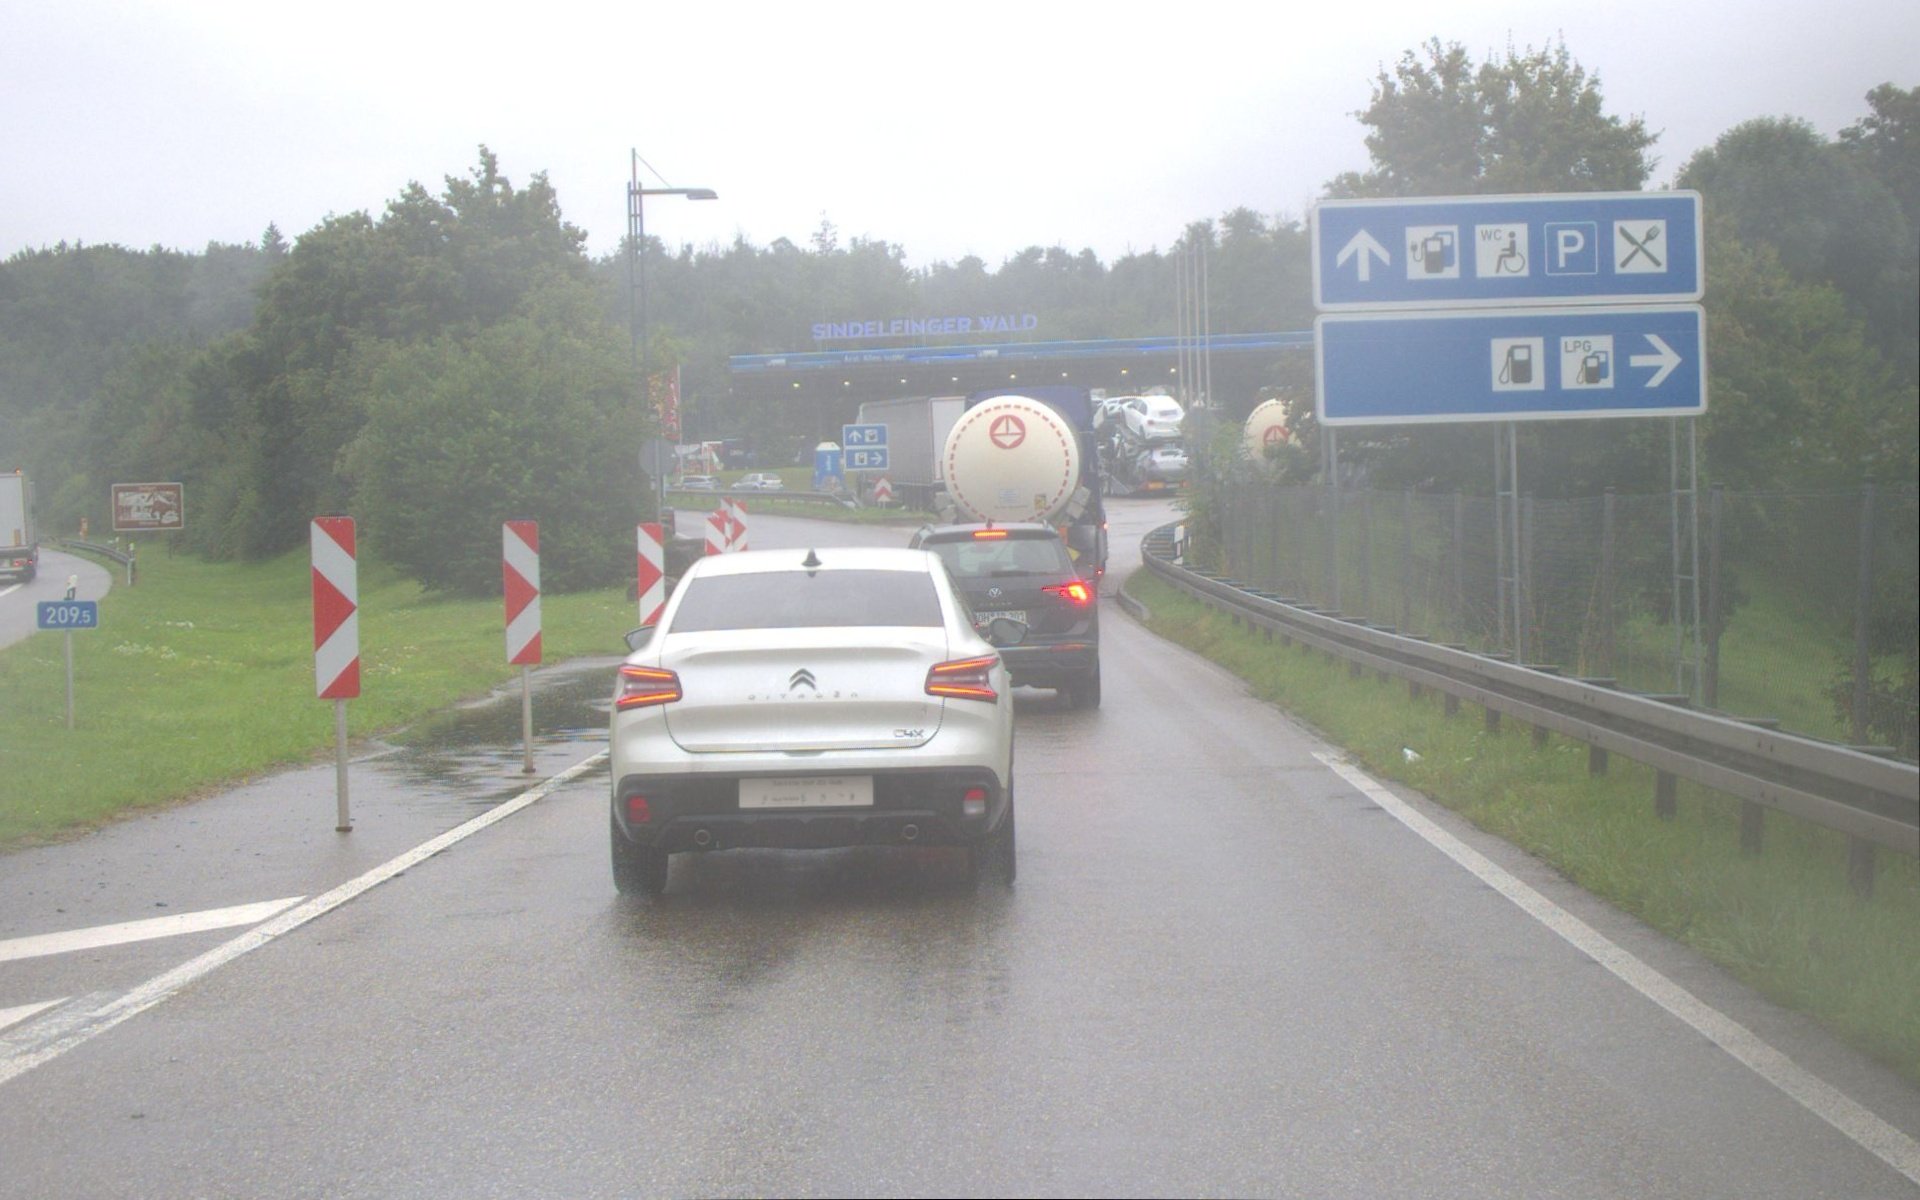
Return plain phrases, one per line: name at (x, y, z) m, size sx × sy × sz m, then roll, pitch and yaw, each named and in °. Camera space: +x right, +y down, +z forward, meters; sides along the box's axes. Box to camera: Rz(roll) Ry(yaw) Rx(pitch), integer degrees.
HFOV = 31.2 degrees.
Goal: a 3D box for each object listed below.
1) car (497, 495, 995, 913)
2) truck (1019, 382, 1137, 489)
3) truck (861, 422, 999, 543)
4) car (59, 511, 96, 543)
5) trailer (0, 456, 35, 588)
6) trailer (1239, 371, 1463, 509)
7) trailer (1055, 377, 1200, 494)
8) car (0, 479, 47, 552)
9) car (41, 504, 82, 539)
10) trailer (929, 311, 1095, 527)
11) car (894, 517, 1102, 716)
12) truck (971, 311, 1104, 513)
car at (-0.908, 0.375, 15.861) m, size 1.993 × 1.673 × 4.000 m, roll 0°, pitch 1°, yaw -1°
truck at (4.746, -6.747, 140.467) m, size 3.233 × 4.173 × 8.447 m, roll -2°, pitch 3°, yaw -9°
truck at (-1.158, -4.123, 118.552) m, size 2.370 × 3.860 × 12.460 m, roll -3°, pitch 3°, yaw -11°
car at (-56.587, -4.700, 220.455) m, size 1.993 × 2.007 × 4.001 m, roll 0°, pitch 1°, yaw -19°
trailer at (-35.928, -2.727, 126.175) m, size 3.547 × 4.596 × 12.124 m, roll -3°, pitch 1°, yaw -15°
trailer at (10.694, -4.405, 92.852) m, size 2.134 × 3.428 × 10.238 m, roll -1°, pitch 3°, yaw 29°
trailer at (6.250, -6.268, 130.570) m, size 3.215 × 4.174 × 11.534 m, roll -2°, pitch 3°, yaw -9°
car at (-45.555, -4.062, 166.421) m, size 2.371 × 3.473 × 4.817 m, roll 0°, pitch 1°, yaw -17°
car at (-52.556, -4.577, 201.006) m, size 1.993 × 2.007 × 4.001 m, roll 0°, pitch 1°, yaw -19°
trailer at (0.997, -3.006, 57.293) m, size 1.980 × 3.213 × 10.321 m, roll -2°, pitch 3°, yaw 5°
car at (0.325, 0.106, 30.840) m, size 1.742 × 1.661 × 4.000 m, roll 0°, pitch 1°, yaw 0°
truck at (1.483, -3.472, 63.747) m, size 2.053 × 3.518 × 4.746 m, roll -2°, pitch 3°, yaw 5°
